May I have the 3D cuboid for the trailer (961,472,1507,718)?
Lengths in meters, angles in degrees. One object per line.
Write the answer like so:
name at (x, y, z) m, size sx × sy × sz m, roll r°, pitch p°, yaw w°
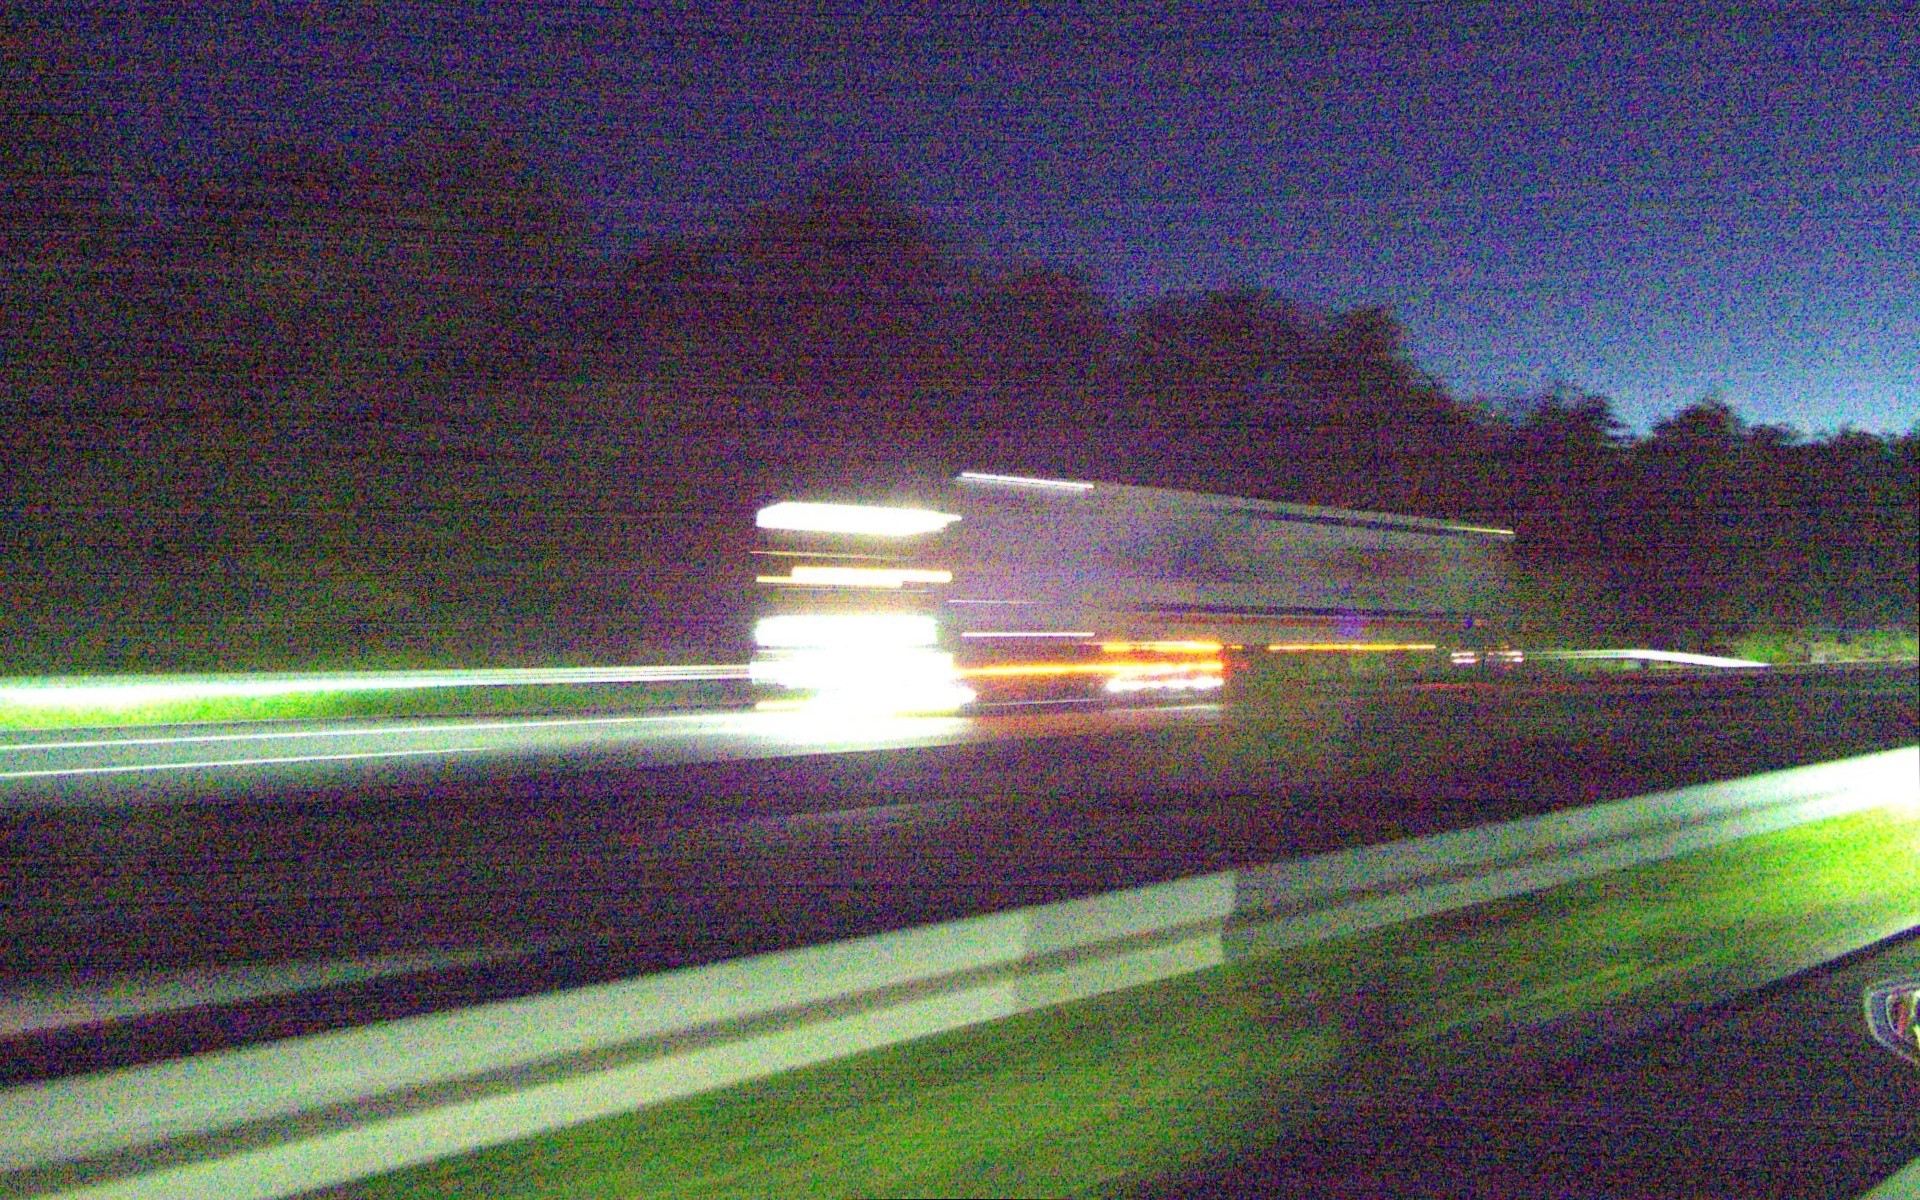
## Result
trailer at (6.628, 0.150, 22.048) m, size 13.745 × 4.230 × 2.846 m, roll 2°, pitch -3°, yaw -31°

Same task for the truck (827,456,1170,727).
truck at (0.762, -0.011, 18.461) m, size 5.759 × 4.267 × 2.740 m, roll 2°, pitch -3°, yaw -31°
